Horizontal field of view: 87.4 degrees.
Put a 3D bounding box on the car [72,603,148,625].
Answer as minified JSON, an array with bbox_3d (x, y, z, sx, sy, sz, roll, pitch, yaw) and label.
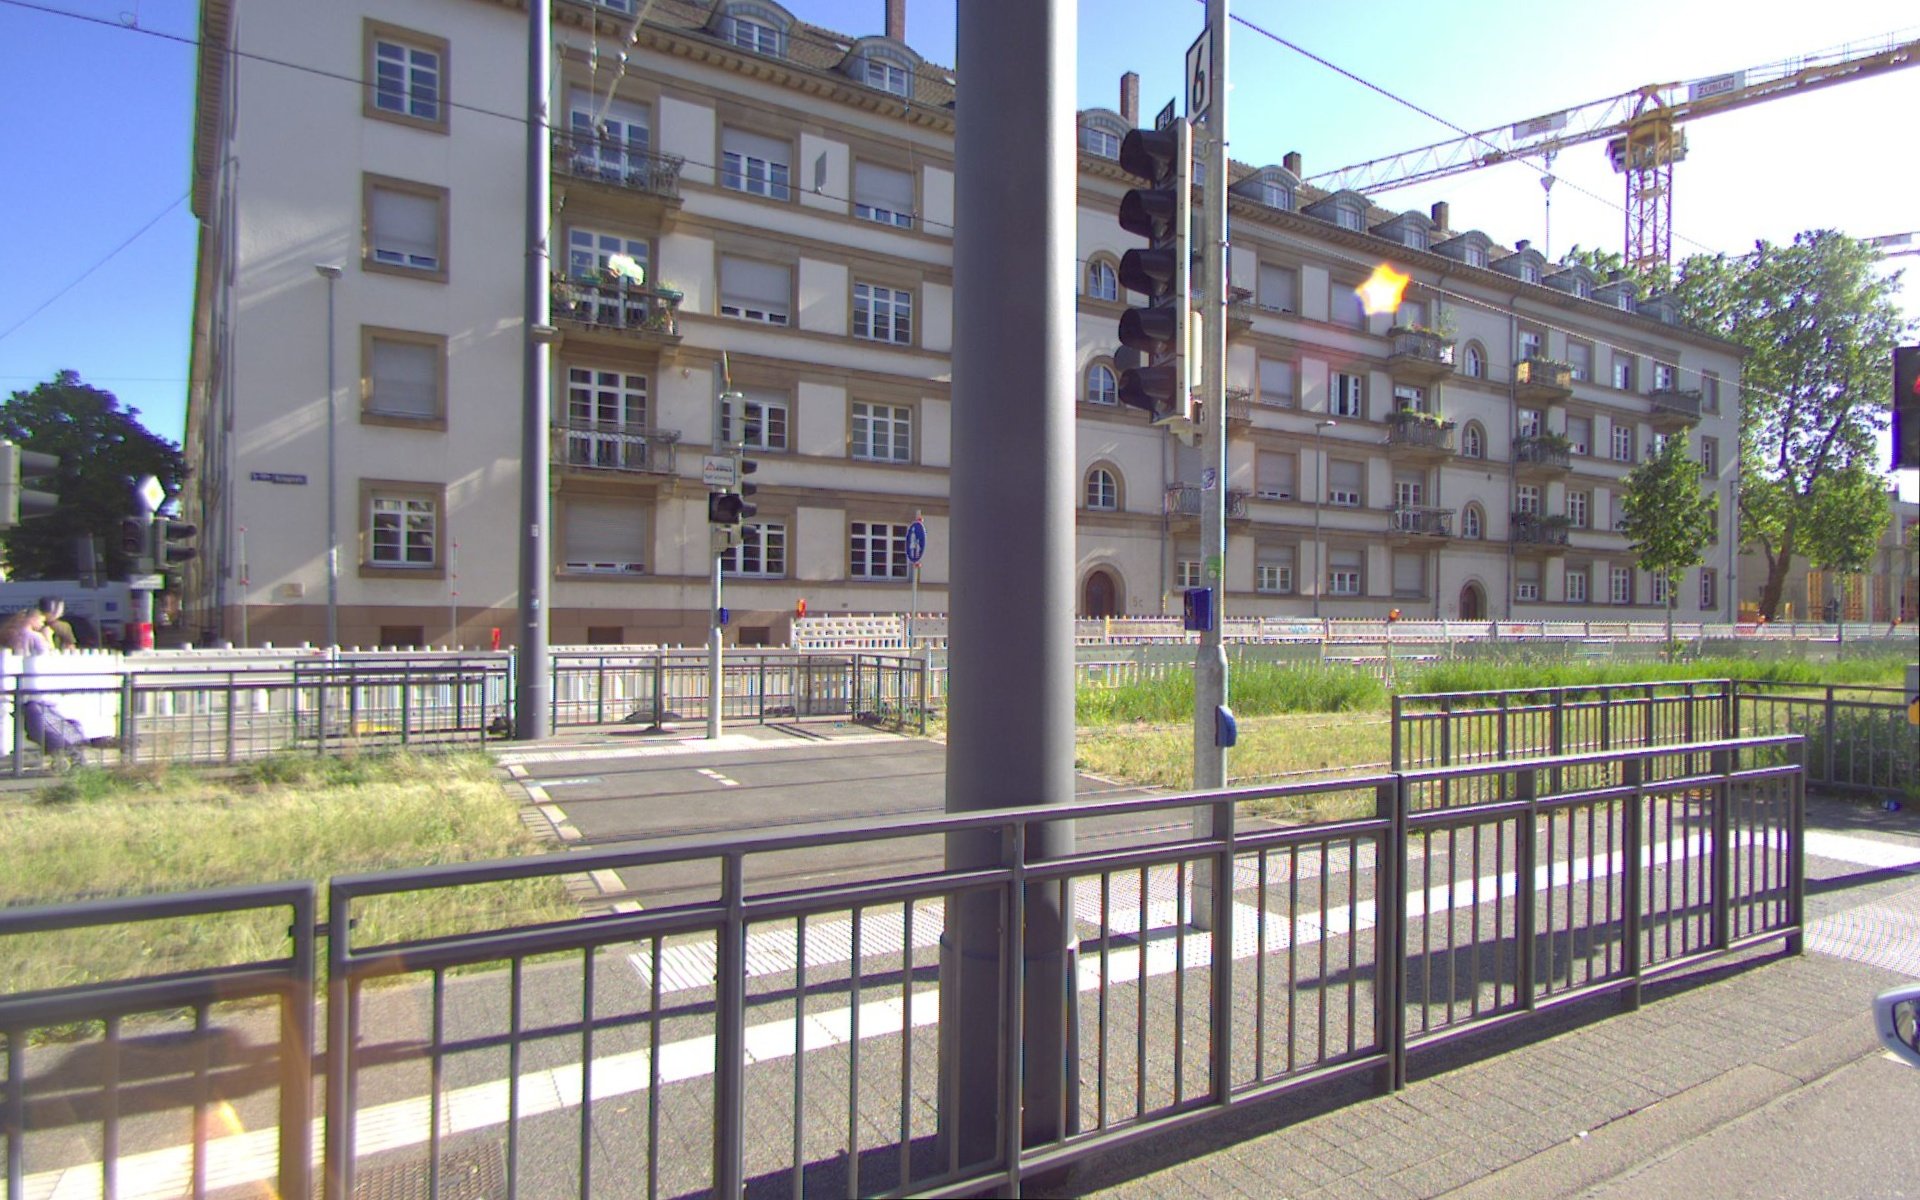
[{"bbox_3d":[-58.469,0.968,69.121,1.730,1.480,3.854,0,-1,43],"label":"car"}]

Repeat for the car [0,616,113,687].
[{"bbox_3d":[-21.434,1.130,22.525,3.642,1.542,1.672,1,-1,-39],"label":"car"}]

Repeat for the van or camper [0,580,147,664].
[{"bbox_3d":[-28.181,0.651,30.073,5.911,2.432,1.976,1,-1,-42],"label":"van or camper"}]

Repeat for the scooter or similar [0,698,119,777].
[{"bbox_3d":[-8.373,1.262,9.322,0.696,0.660,0.515,1,0,-11],"label":"scooter or similar"}]

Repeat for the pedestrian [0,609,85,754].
[{"bbox_3d":[-10.618,0.893,11.320,0.897,1.557,0.862,1,0,-24],"label":"pedestrian"}]

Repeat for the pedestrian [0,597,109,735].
[{"bbox_3d":[-12.368,0.875,13.650,0.894,1.804,0.865,1,0,-13],"label":"pedestrian"}]

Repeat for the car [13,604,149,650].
[{"bbox_3d":[-35.543,1.085,40.763,3.963,1.799,1.724,1,-1,-37],"label":"car"}]

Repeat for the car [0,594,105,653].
[{"bbox_3d":[-25.260,0.623,26.821,3.635,1.542,1.672,1,-1,-39],"label":"car"}]

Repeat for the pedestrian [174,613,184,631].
[{"bbox_3d":[-73.993,2.080,95.209,0.682,1.778,0.808,1,-1,-36],"label":"pedestrian"}]

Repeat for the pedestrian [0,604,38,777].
[{"bbox_3d":[-9.087,0.814,9.066,0.801,1.557,0.796,1,0,-11],"label":"pedestrian"}]
